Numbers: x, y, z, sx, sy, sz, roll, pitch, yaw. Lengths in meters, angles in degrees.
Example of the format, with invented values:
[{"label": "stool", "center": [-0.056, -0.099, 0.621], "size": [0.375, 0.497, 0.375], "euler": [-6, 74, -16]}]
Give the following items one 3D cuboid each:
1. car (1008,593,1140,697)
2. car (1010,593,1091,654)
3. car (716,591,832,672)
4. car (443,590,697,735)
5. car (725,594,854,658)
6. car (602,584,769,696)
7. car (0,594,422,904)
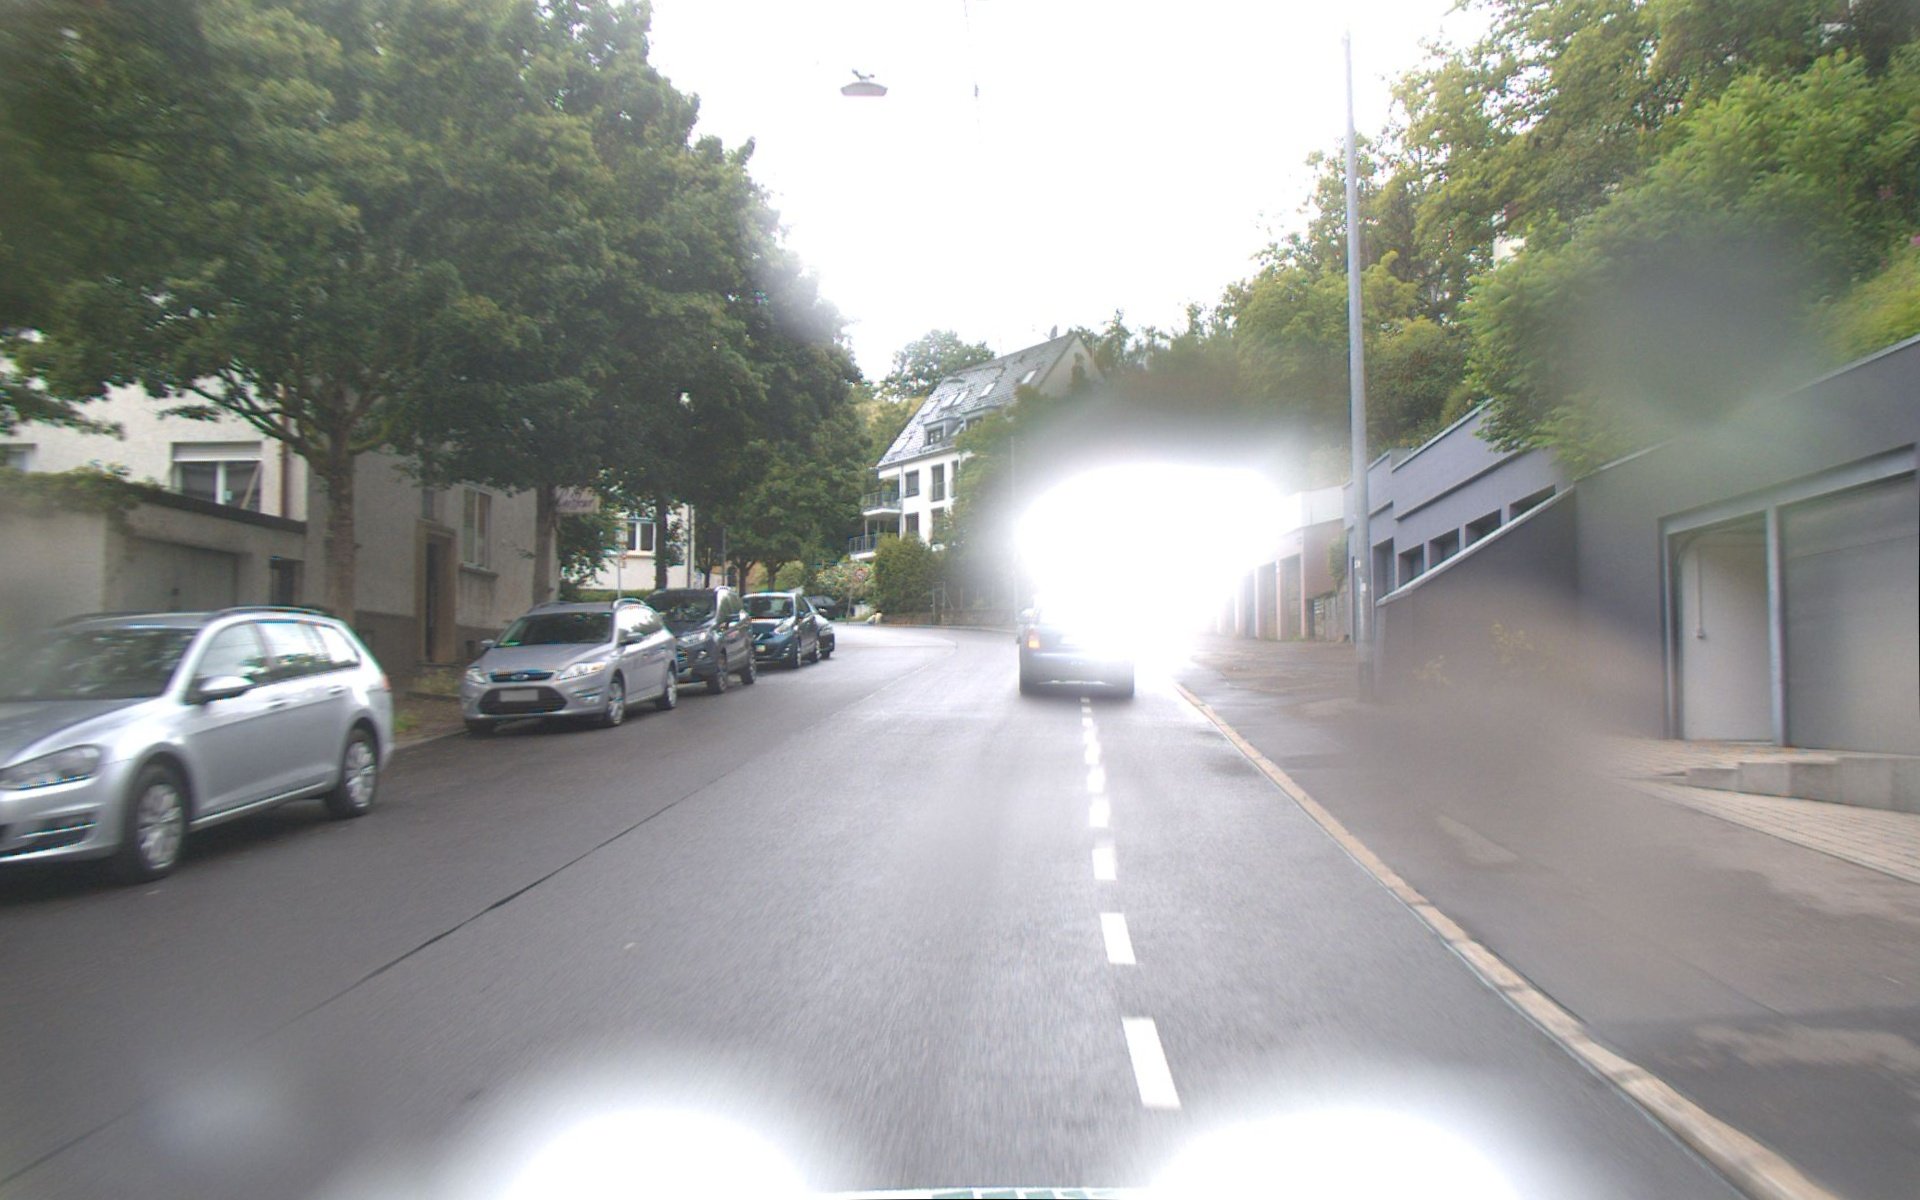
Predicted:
[{"label": "car", "center": [1.836, 0.619, 25.489], "size": [1.814, 1.438, 4.364], "euler": [1, 0, 7]}, {"label": "car", "center": [2.627, 0.664, 48.976], "size": [1.911, 1.588, 4.261], "euler": [4, 0, -2]}, {"label": "car", "center": [-3.830, 0.622, 34.639], "size": [1.676, 1.488, 3.883], "euler": [2, 1, 4]}, {"label": "car", "center": [-4.771, 0.759, 20.992], "size": [1.767, 1.579, 4.801], "euler": [2, -1, 4]}, {"label": "car", "center": [-4.122, 0.607, 39.397], "size": [1.966, 1.415, 4.168], "euler": [1, -1, -23]}, {"label": "car", "center": [-4.385, 0.625, 27.045], "size": [1.767, 1.655, 4.141], "euler": [1, 0, 4]}, {"label": "car", "center": [-5.108, 0.751, 10.297], "size": [1.767, 1.479, 4.598], "euler": [2, -1, 3]}]
